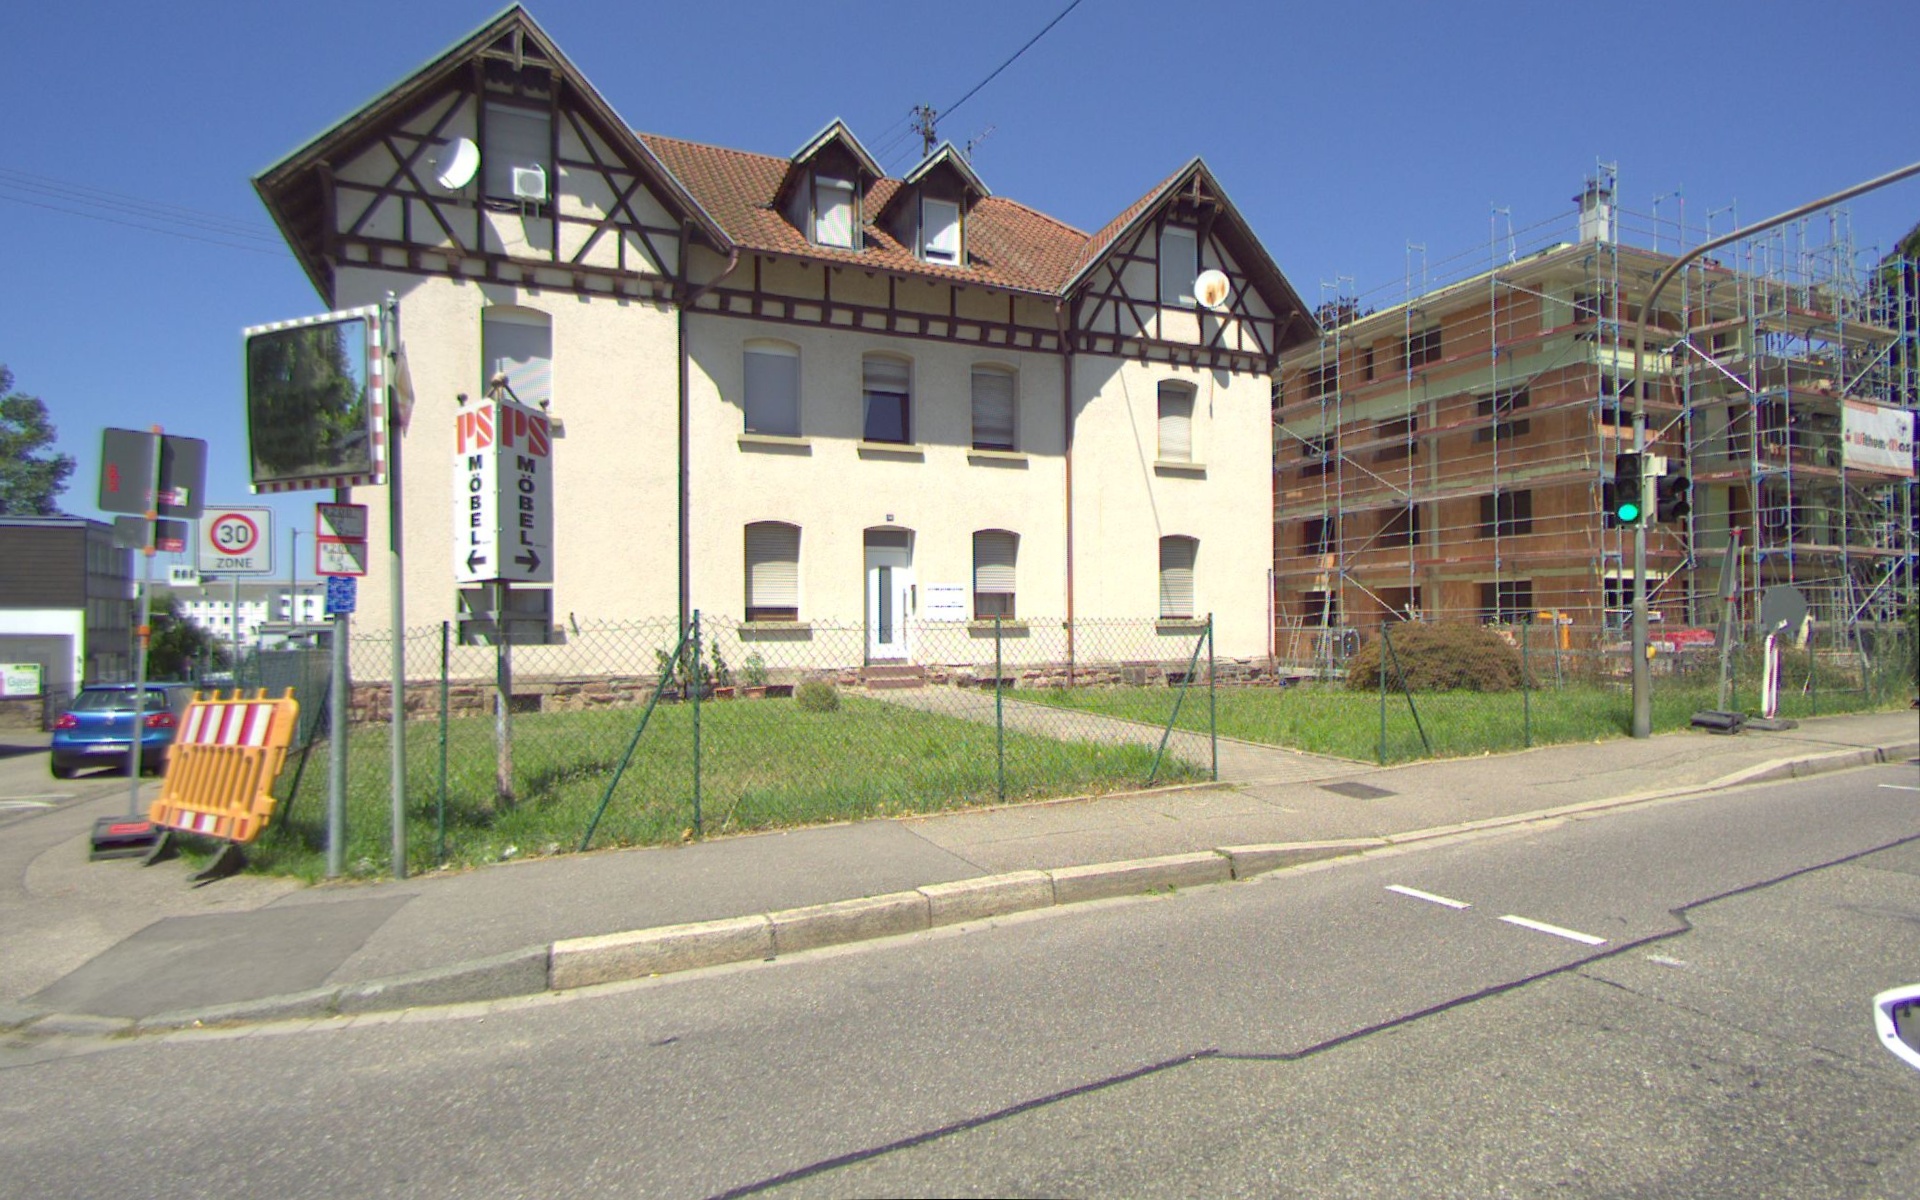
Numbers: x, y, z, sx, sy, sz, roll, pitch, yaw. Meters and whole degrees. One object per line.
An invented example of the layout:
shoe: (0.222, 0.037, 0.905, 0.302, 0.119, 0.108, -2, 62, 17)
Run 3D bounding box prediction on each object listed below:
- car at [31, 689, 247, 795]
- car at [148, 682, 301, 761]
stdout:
car: (-13.785, 2.311, 17.157, 1.775, 1.452, 3.979, 0, -4, -23)
car: (-15.776, 2.550, 21.773, 1.775, 1.452, 3.979, 0, -4, -23)
